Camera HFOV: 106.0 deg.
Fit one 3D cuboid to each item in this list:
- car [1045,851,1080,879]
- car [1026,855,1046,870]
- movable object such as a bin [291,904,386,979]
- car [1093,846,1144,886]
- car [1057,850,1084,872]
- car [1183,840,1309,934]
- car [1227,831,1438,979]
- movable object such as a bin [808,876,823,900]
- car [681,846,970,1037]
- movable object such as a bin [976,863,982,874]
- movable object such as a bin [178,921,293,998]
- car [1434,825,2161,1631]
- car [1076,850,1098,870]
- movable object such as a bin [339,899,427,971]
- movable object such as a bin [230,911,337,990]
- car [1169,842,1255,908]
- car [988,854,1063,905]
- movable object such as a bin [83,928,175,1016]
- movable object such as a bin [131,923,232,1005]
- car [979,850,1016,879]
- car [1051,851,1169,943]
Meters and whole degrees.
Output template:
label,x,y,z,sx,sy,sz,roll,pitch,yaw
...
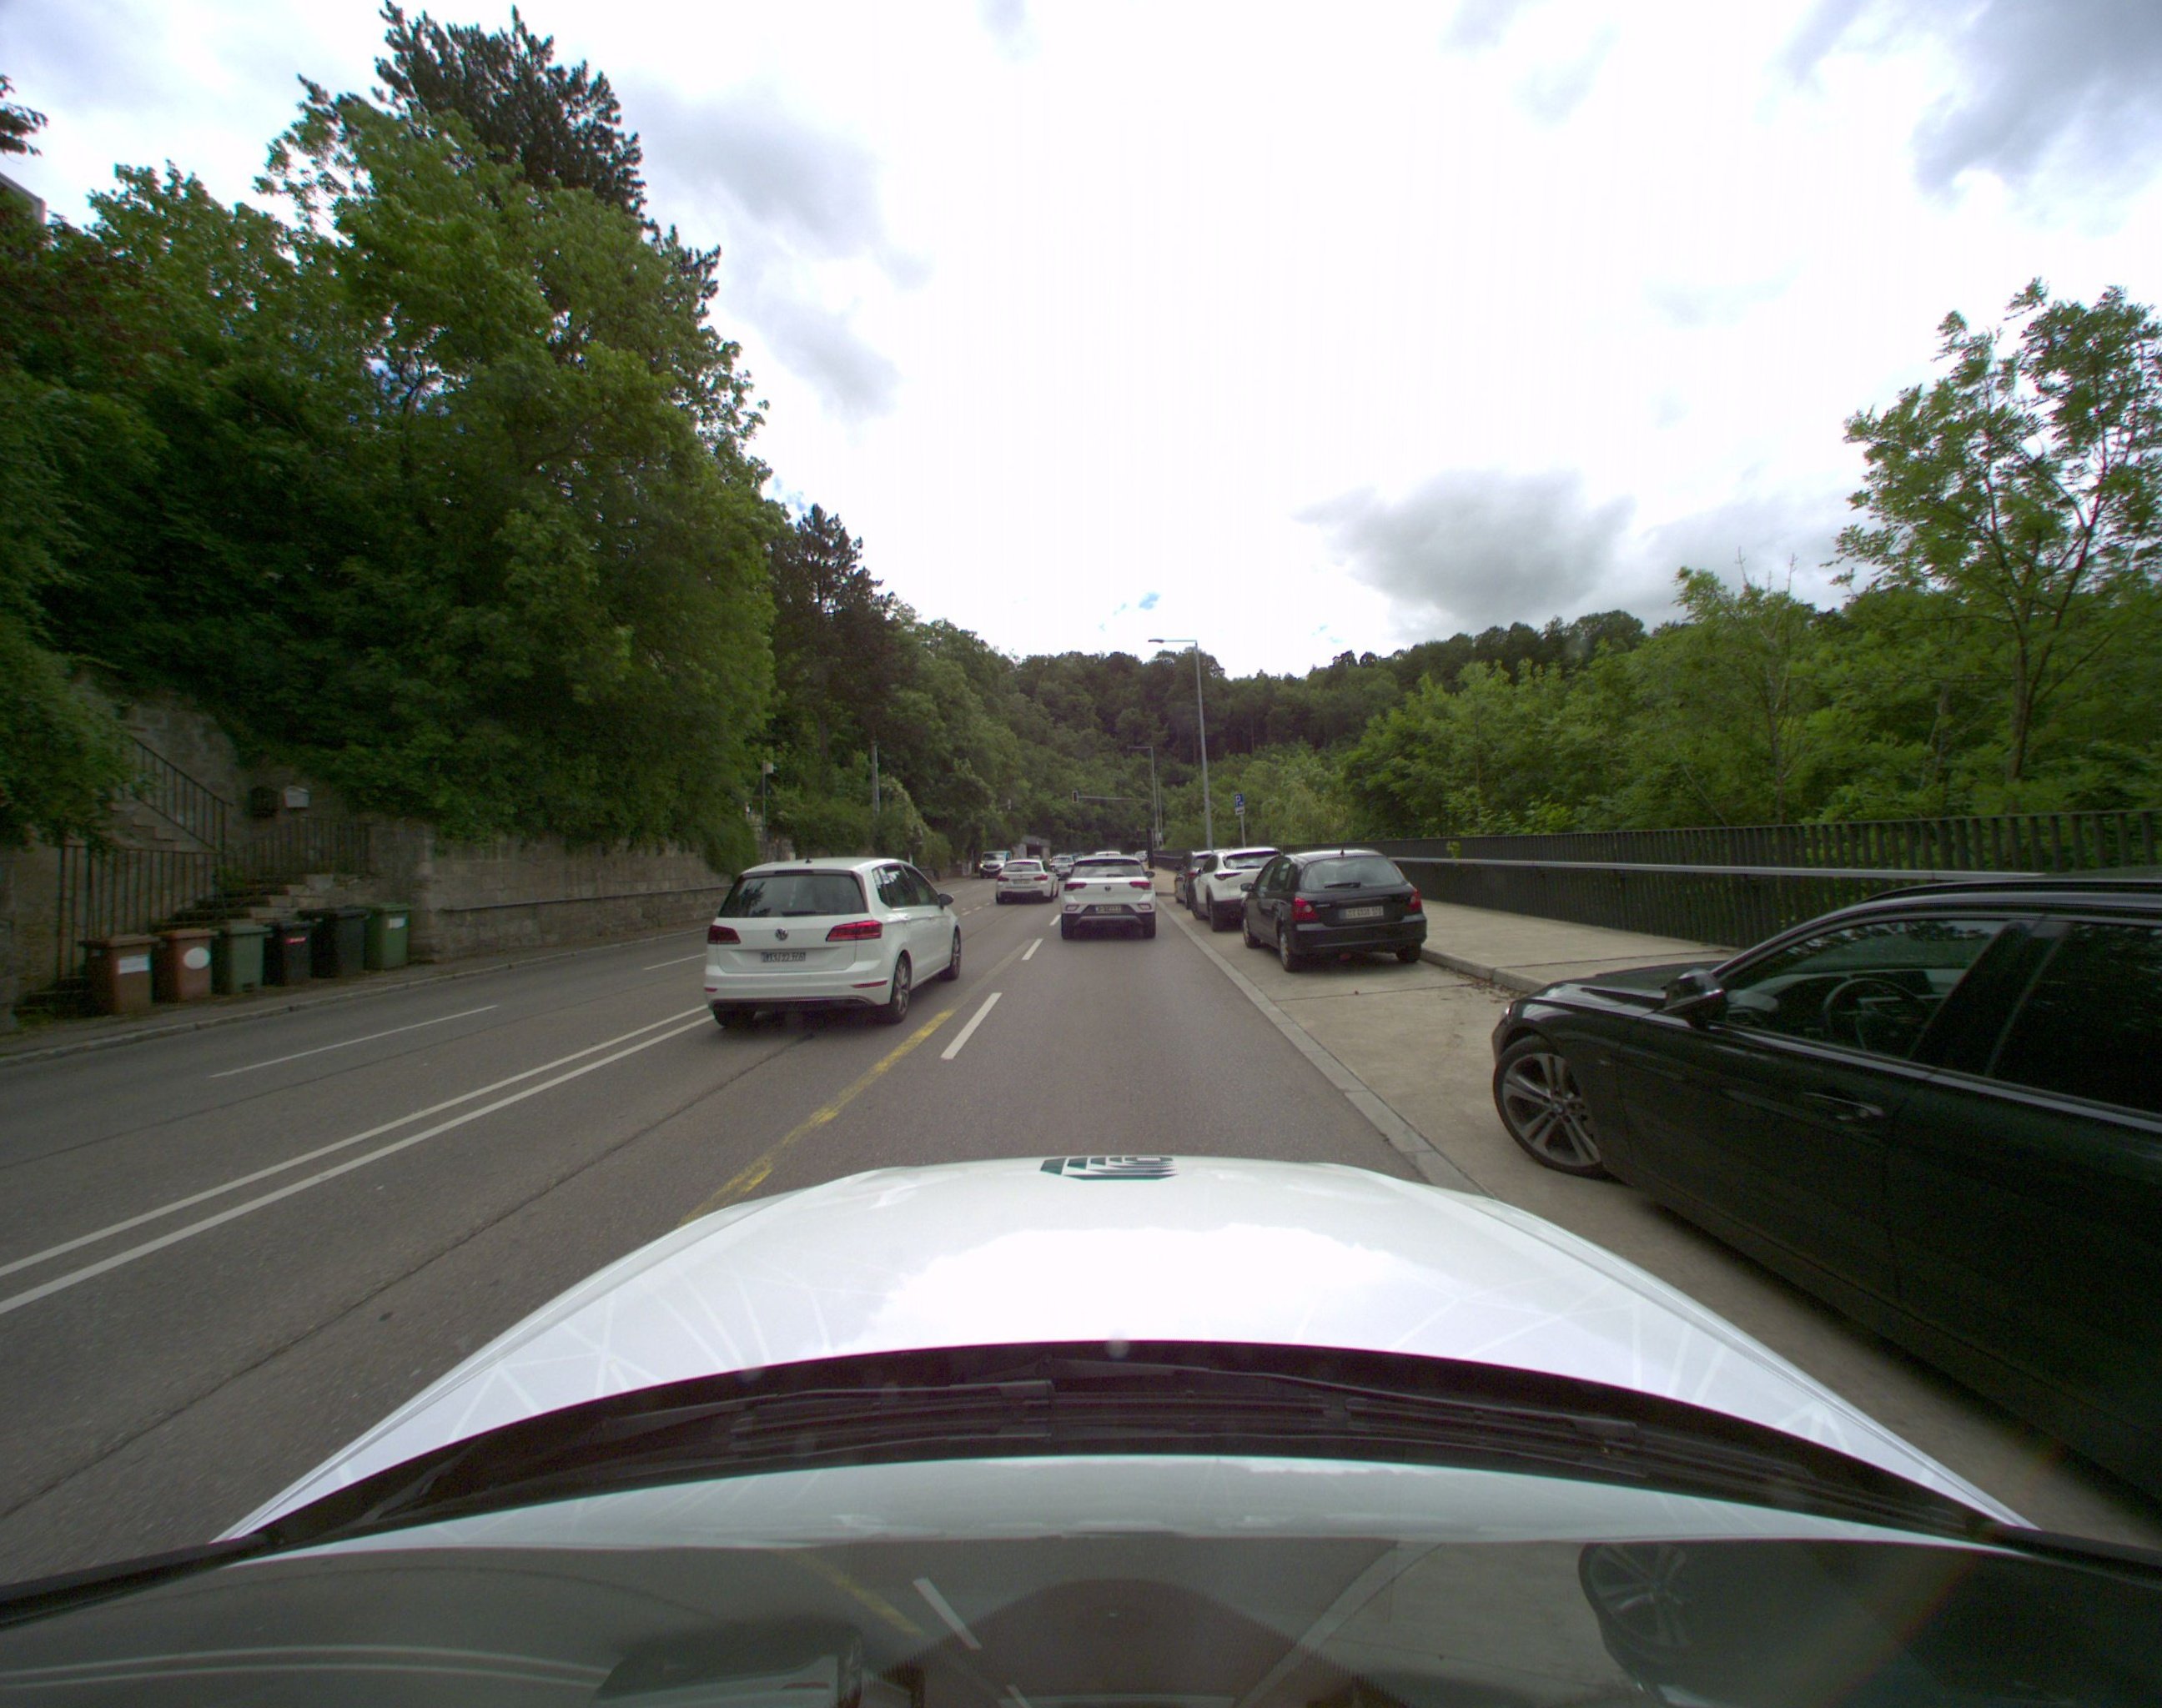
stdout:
label,x,y,z,sx,sy,sz,roll,pitch,yaw
car,-1.064,0.696,49.467,1.855,1.595,4.002,-1,-1,2
car,-4.800,0.937,87.779,1.669,1.442,4.238,-1,2,4
movable object such as a bin,-11.498,1.343,12.643,0.770,1.061,0.717,-3,0,-2
car,1.899,0.584,39.814,1.981,1.843,4.161,-1,0,9
car,-0.813,0.554,67.772,1.986,1.741,4.002,-2,0,2
car,3.255,0.605,16.955,1.720,1.568,4.626,-4,-1,2
car,3.285,0.590,11.537,1.653,1.572,4.257,-5,0,2
movable object such as a bin,-10.941,1.397,33.550,0.476,0.971,0.367,-1,-1,-3
car,-2.446,0.740,9.008,1.714,1.554,4.276,-2,0,1
movable object such as a bin,-9.037,1.315,72.092,0.425,0.950,0.479,-1,-1,0
movable object such as a bin,-11.668,1.441,11.260,0.914,0.945,0.593,-3,0,-2
car,2.871,0.673,2.309,1.817,1.401,4.319,-5,0,1
car,0.580,0.554,81.530,1.986,1.864,4.002,-2,0,2
movable object such as a bin,-11.449,1.311,13.381,0.785,1.071,0.708,-3,1,-2
movable object such as a bin,-11.621,1.388,11.885,0.896,1.034,0.621,-3,0,-2
car,3.602,0.547,23.142,1.750,1.544,4.429,-6,0,2
car,-1.810,0.800,27.992,1.985,1.557,4.684,-1,0,3
movable object such as a bin,-11.544,1.419,9.890,0.515,0.966,0.474,-3,0,-2
movable object such as a bin,-11.735,1.425,10.644,0.672,0.966,0.543,-3,0,-2
car,-6.212,0.758,60.914,1.914,2.005,5.358,-2,0,2
car,0.717,0.772,16.396,1.803,1.539,4.018,-3,0,9
